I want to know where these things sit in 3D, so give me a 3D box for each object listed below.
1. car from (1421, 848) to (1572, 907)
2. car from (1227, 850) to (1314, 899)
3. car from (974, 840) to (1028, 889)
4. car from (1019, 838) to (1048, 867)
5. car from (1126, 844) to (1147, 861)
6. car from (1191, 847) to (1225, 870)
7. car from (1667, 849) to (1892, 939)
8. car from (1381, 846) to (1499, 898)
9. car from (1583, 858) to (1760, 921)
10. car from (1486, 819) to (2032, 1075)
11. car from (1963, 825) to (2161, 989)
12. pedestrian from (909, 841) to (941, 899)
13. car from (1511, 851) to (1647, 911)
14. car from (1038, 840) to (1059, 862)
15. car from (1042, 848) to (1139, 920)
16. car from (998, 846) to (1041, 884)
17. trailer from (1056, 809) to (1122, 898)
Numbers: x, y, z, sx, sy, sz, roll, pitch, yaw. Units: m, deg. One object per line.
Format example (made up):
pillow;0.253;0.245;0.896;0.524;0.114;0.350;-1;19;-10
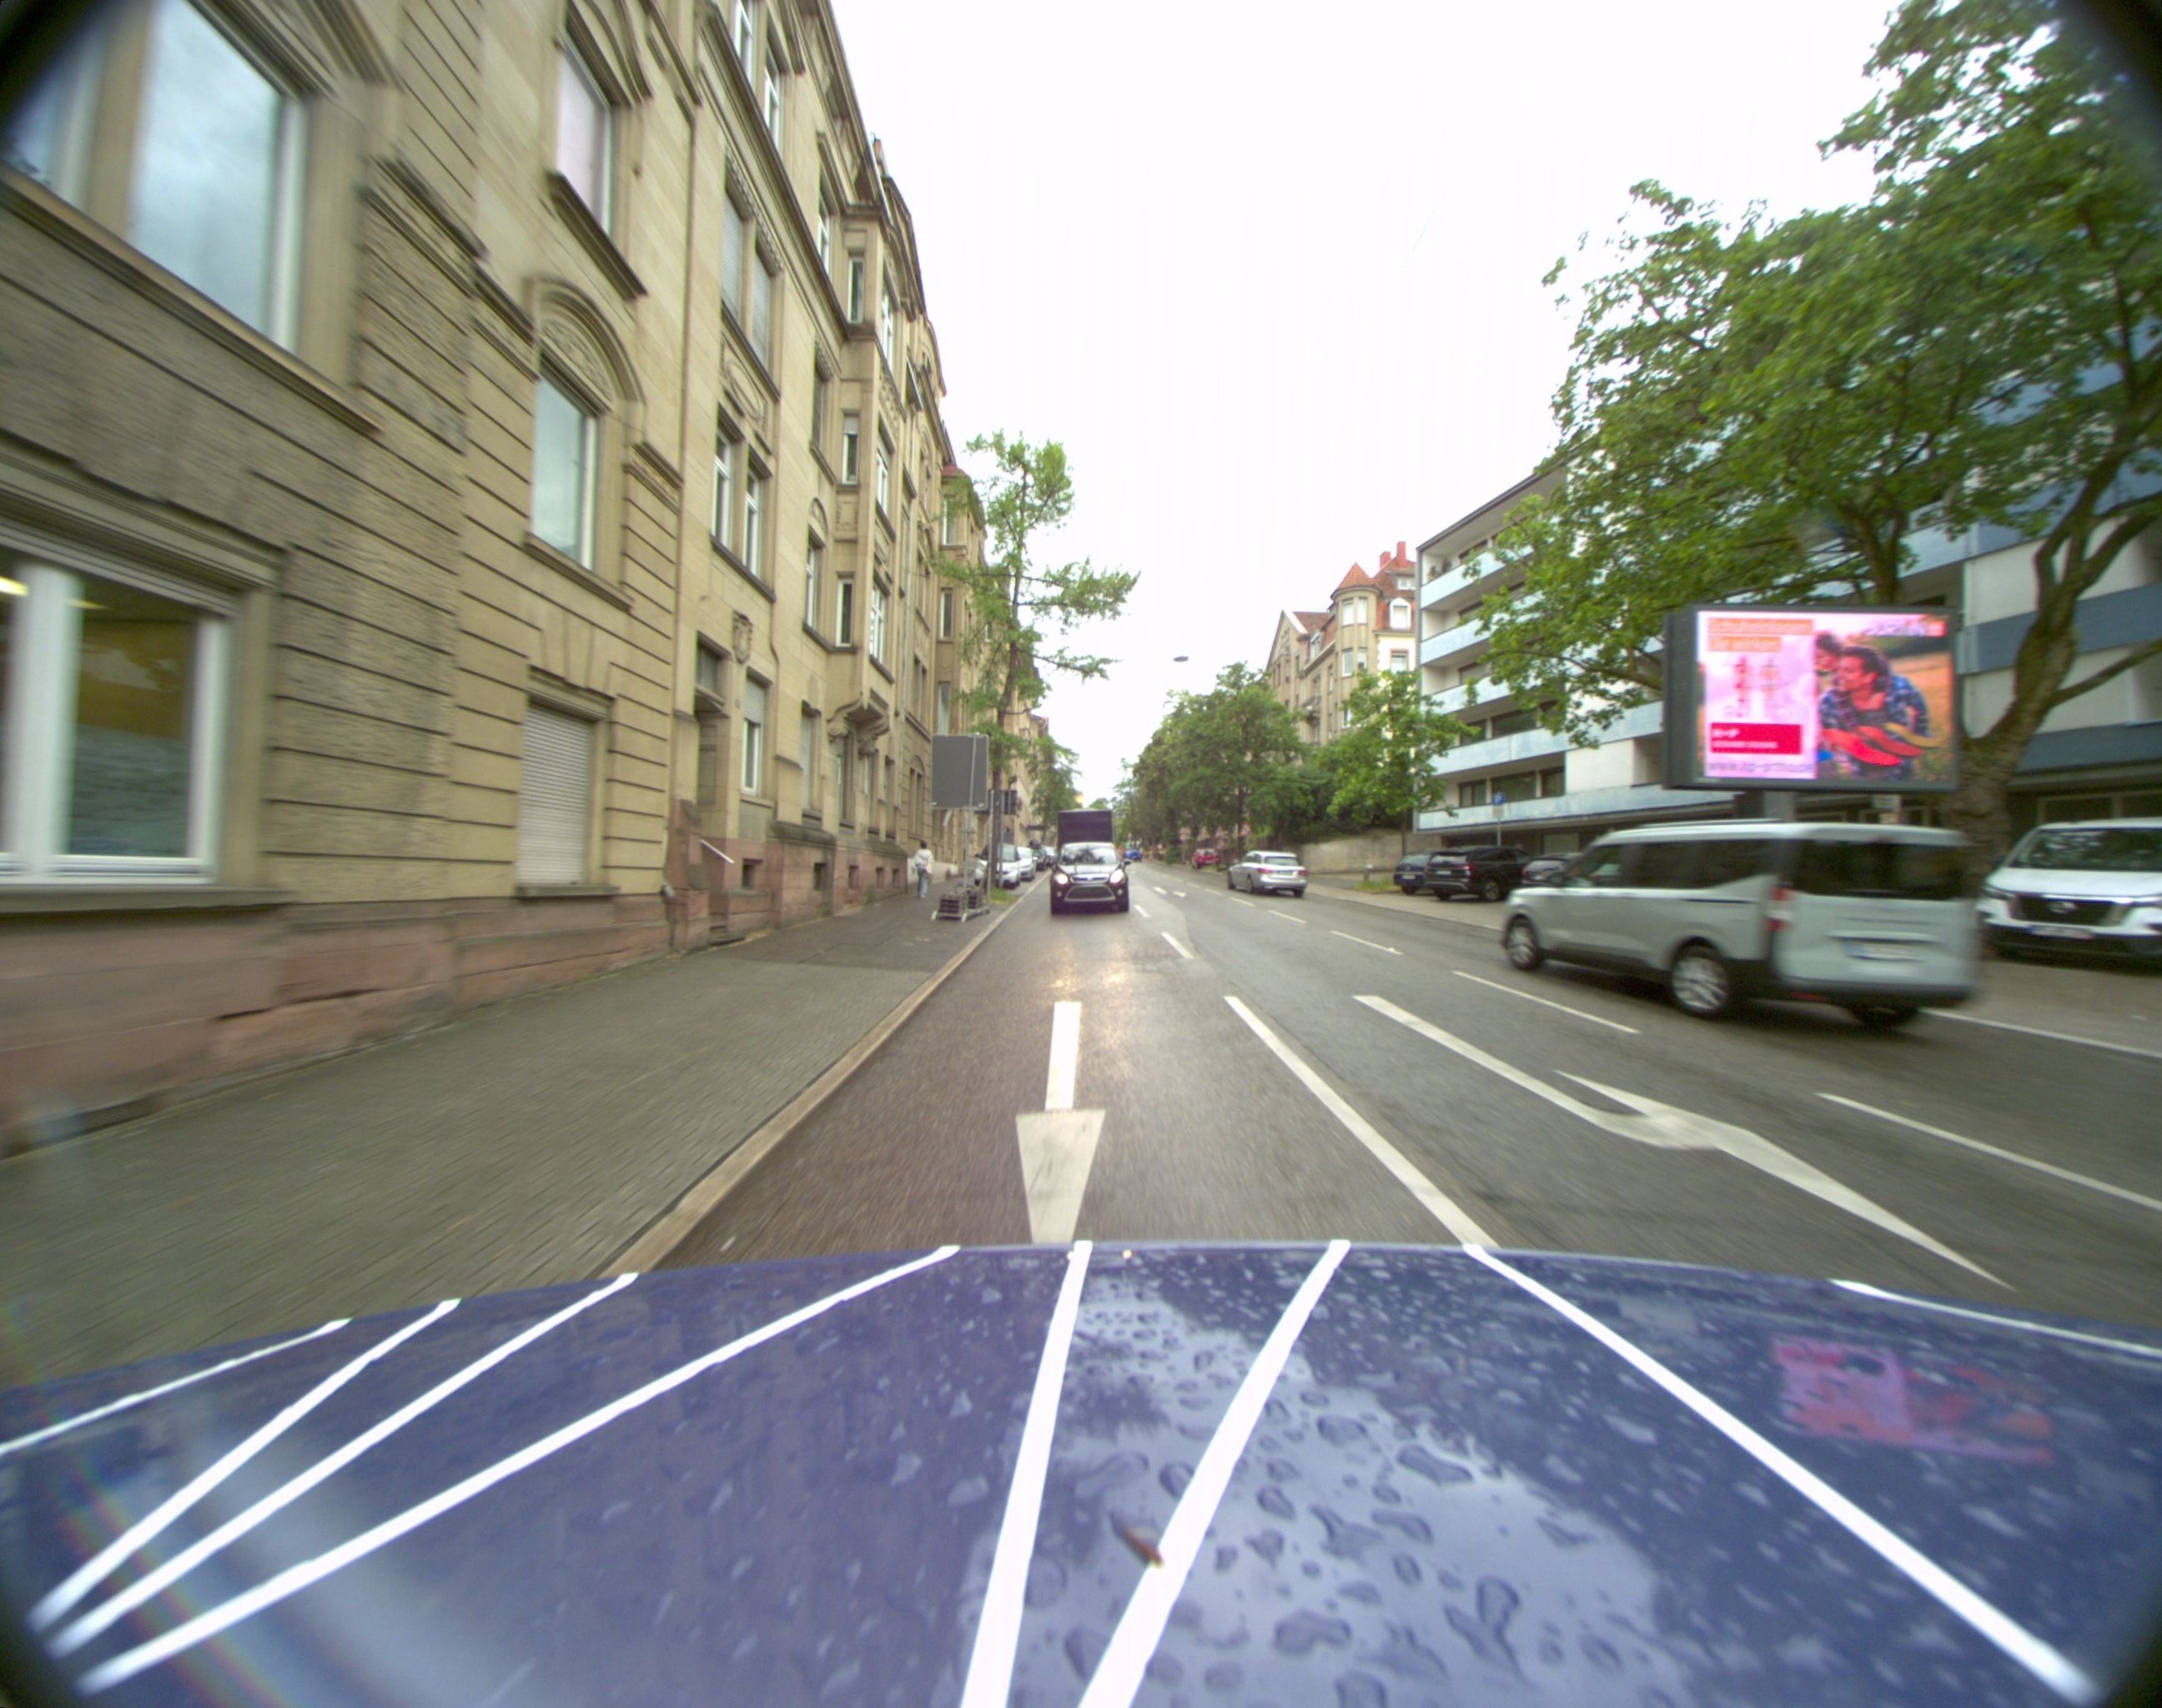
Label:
car;12.719;0.650;23.229;4.317;1.584;1.807;-2;2;-24
car;6.371;0.648;26.067;1.731;1.440;4.324;3;1;-1
car;-2.898;0.350;28.175;1.526;1.608;3.493;4;1;0
car;-2.964;-0.106;48.024;1.547;1.700;3.762;4;1;0
car;5.693;-0.140;78.427;1.794;1.655;3.886;3;1;1
car;9.040;0.275;54.367;1.752;1.497;3.886;3;1;2
car;14.503;0.751;15.814;3.839;1.680;1.803;0;1;-19
car;12.494;0.575;26.427;3.841;1.523;1.767;-3;2;-28
car;14.539;0.809;18.725;3.840;1.397;1.688;0;1;-21
car;6.379;0.705;8.005;1.818;1.870;4.241;4;1;0
car;15.018;0.590;10.620;4.981;1.966;1.877;-1;1;-20
pedestrian;-4.205;0.421;20.525;0.645;1.489;0.690;3;4;-1
car;14.052;0.688;21.388;3.842;1.398;1.676;-3;2;-31
car;-2.708;-0.265;63.670;1.547;1.700;3.762;4;1;0
car;0.334;0.644;18.265;1.861;1.503;3.684;1;0;8
car;-2.685;0.436;33.877;1.547;1.478;3.762;4;1;0
trailer;0.283;0.002;24.792;1.938;2.621;4.684;0;0;1
